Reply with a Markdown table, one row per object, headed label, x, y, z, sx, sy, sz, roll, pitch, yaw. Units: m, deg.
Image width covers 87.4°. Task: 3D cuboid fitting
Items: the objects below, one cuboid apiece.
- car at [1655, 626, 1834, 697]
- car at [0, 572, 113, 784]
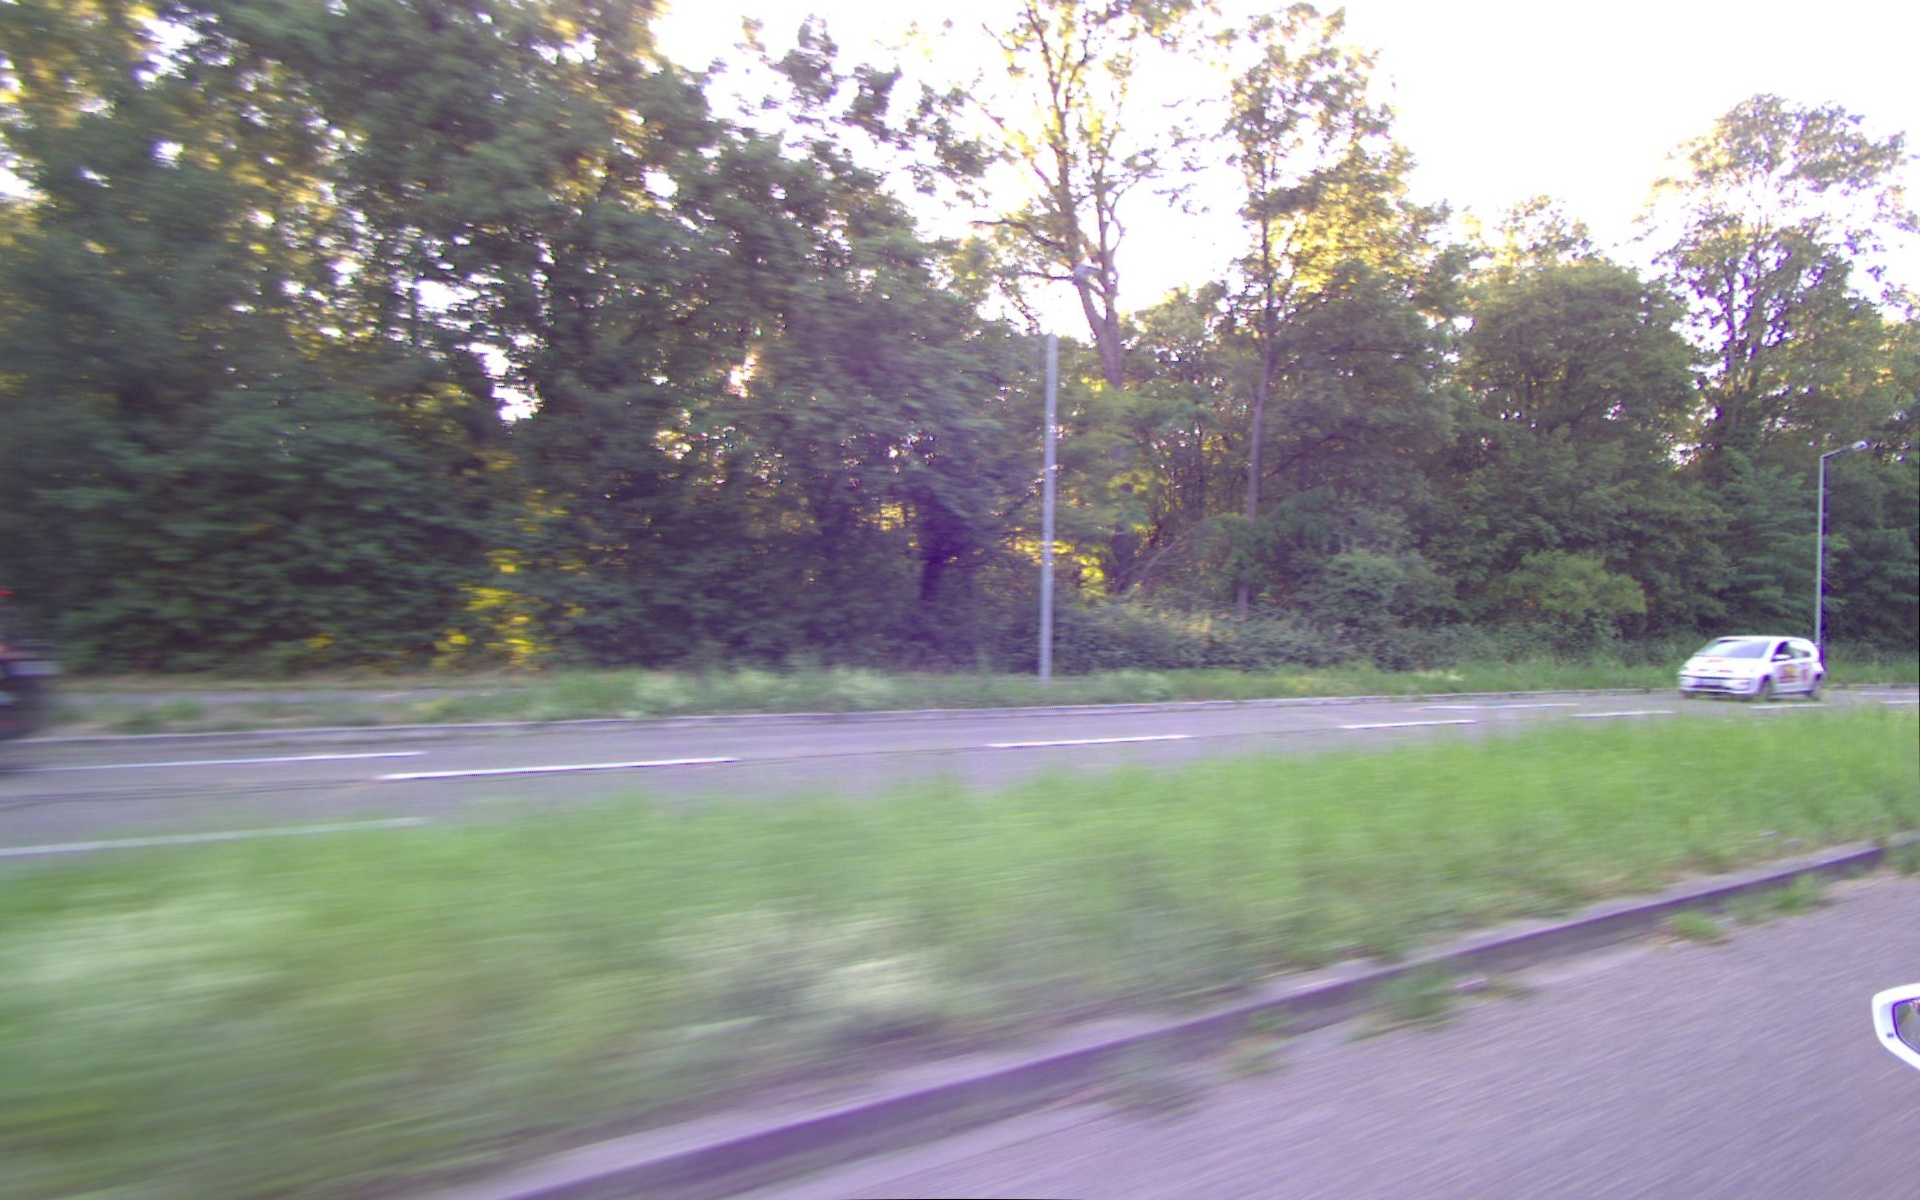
| label | x | y | z | sx | sy | sz | roll | pitch | yaw |
| --- | --- | --- | --- | --- | --- | --- | --- | --- | --- |
| car | 18.462 | 1.438 | 23.632 | 3.764 | 1.477 | 1.985 | 4 | -3 | -28 |
| car | -9.678 | 0.573 | 7.643 | 4.598 | 1.649 | 1.984 | 2 | -3 | -31 |
